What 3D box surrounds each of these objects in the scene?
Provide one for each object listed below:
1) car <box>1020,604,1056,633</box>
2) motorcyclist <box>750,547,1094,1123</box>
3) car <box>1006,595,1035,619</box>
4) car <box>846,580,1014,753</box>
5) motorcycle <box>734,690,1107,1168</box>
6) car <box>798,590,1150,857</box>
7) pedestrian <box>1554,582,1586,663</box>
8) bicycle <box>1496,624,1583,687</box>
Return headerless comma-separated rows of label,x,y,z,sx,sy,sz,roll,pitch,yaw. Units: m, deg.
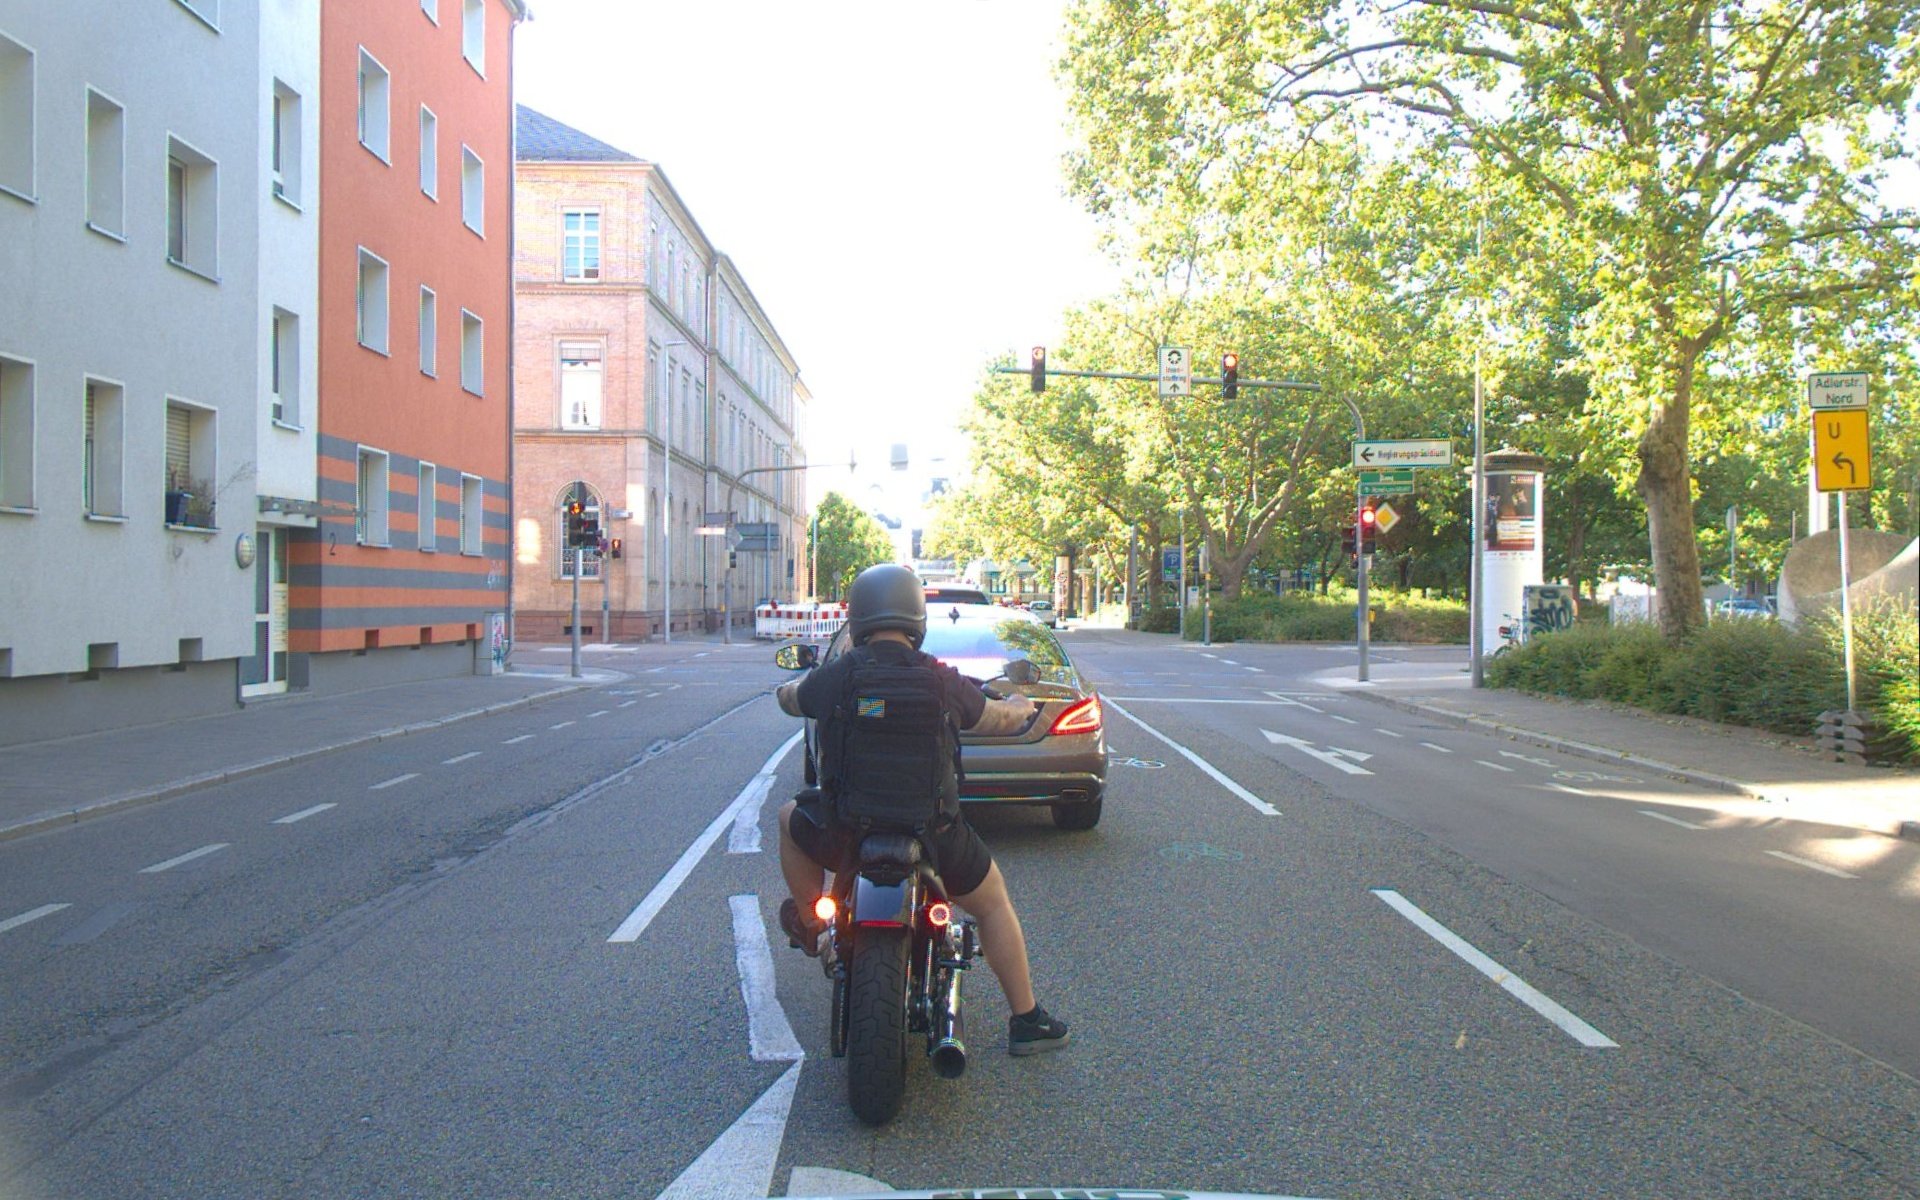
car,4.277,0.977,90.815,1.784,1.506,3.908,-1,0,0
motorcyclist,-0.115,0.662,5.387,0.969,1.625,1.403,0,0,-1
car,3.887,0.439,106.788,1.817,1.512,3.908,1,0,1
car,-0.337,0.617,17.744,1.580,1.636,4.327,0,0,-2
motorcycle,-0.120,0.925,5.541,0.969,1.097,2.451,0,0,-1
car,-0.115,0.683,11.581,1.909,1.498,4.355,0,0,-7
pedestrian,14.323,0.530,38.822,0.540,1.881,0.593,0,0,0
bicycle,9.733,0.924,27.788,1.324,1.041,0.363,0,0,0
